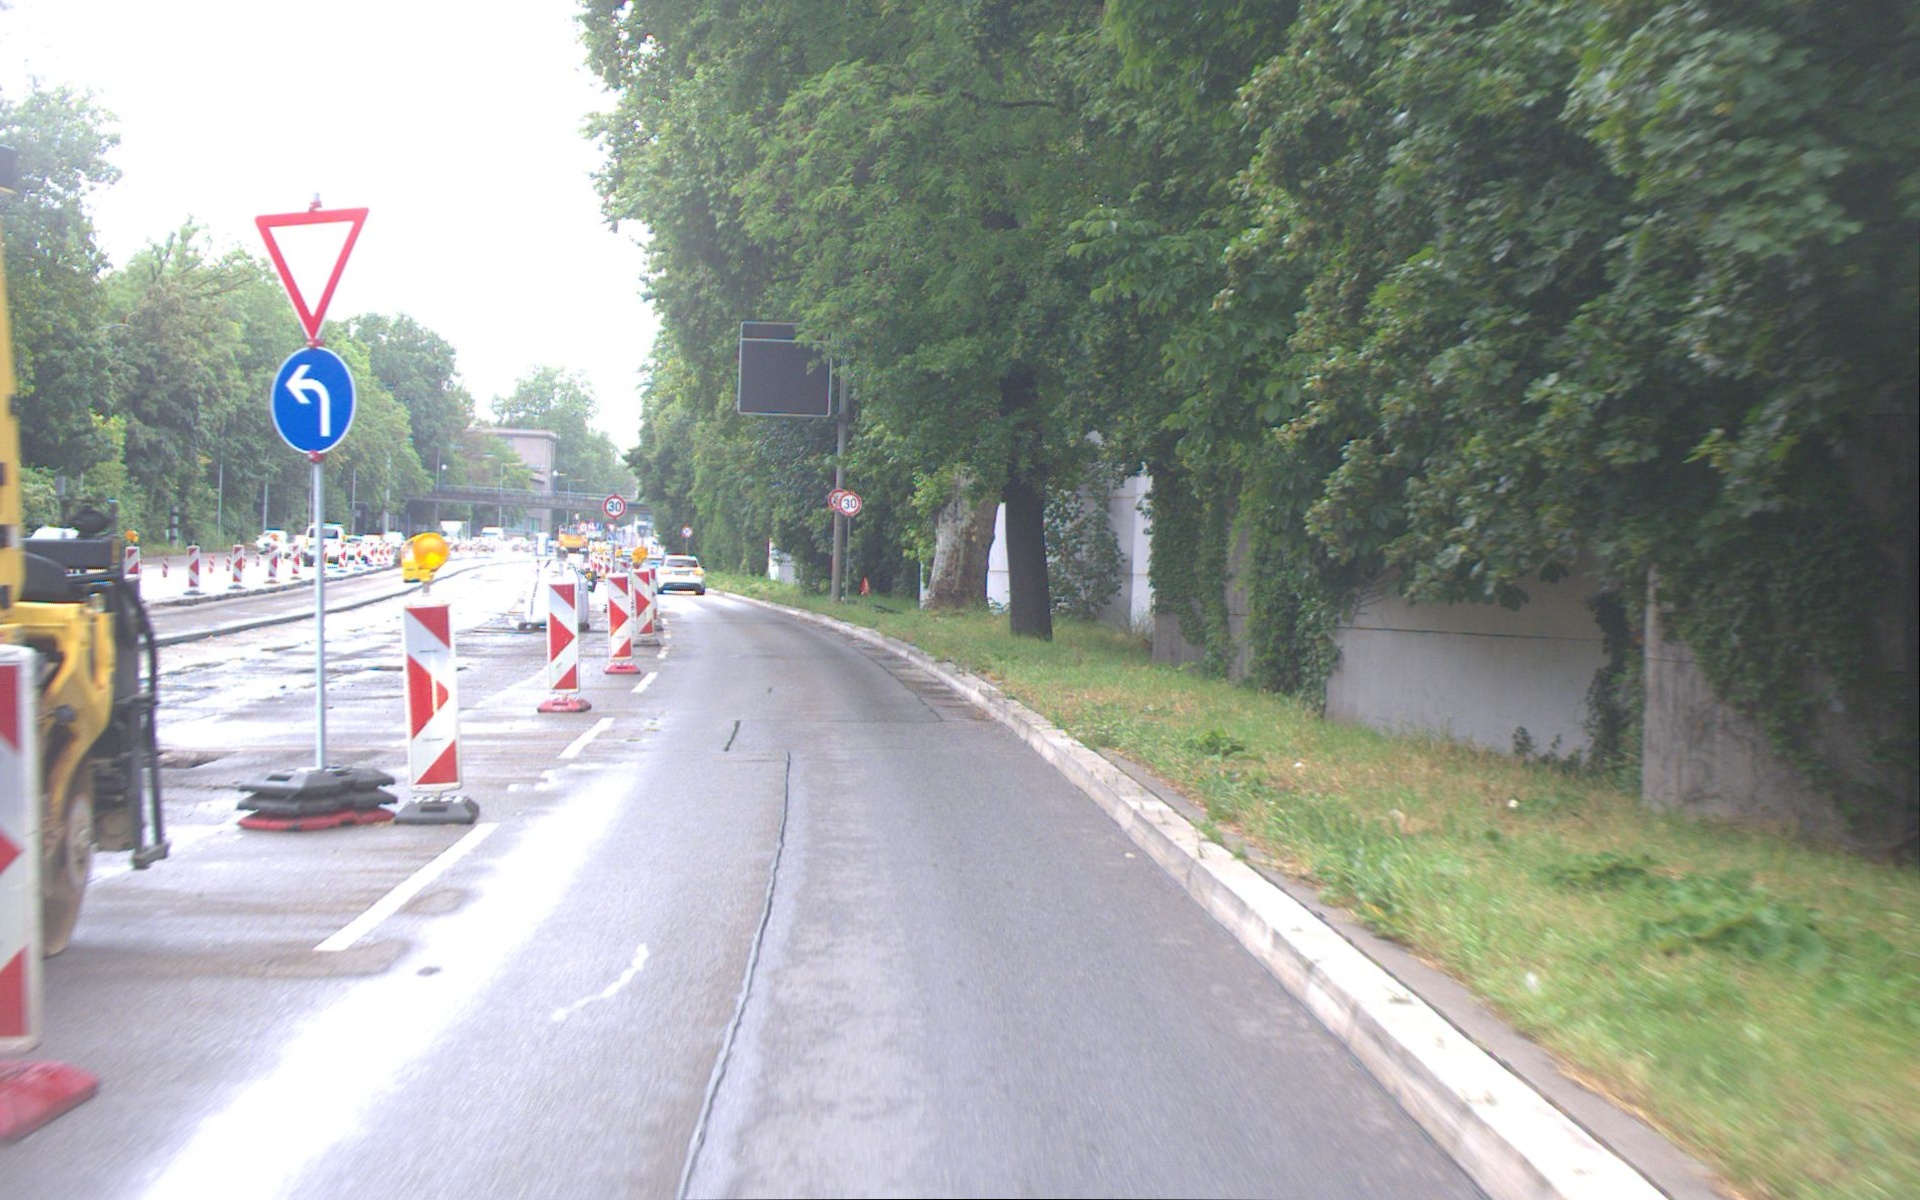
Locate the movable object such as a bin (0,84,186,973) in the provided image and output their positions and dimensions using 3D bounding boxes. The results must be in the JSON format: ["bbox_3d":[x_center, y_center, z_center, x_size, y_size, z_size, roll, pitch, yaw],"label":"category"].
[{"bbox_3d":[-4.121,-0.248,11.806,1.803,2.975,5.246,1,1,-1],"label":"movable object such as a bin"}]

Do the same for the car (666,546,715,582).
[{"bbox_3d":[-10.156,-1.364,129.391,1.697,1.331,3.492,0,1,-6],"label":"car"}]

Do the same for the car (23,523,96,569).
[{"bbox_3d":[-30.371,-1.831,116.042,1.666,1.536,4.158,-1,1,-5],"label":"car"}]

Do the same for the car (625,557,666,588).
[{"bbox_3d":[-14.809,-1.298,162.100,1.854,1.428,3.731,1,0,-4],"label":"car"}]
